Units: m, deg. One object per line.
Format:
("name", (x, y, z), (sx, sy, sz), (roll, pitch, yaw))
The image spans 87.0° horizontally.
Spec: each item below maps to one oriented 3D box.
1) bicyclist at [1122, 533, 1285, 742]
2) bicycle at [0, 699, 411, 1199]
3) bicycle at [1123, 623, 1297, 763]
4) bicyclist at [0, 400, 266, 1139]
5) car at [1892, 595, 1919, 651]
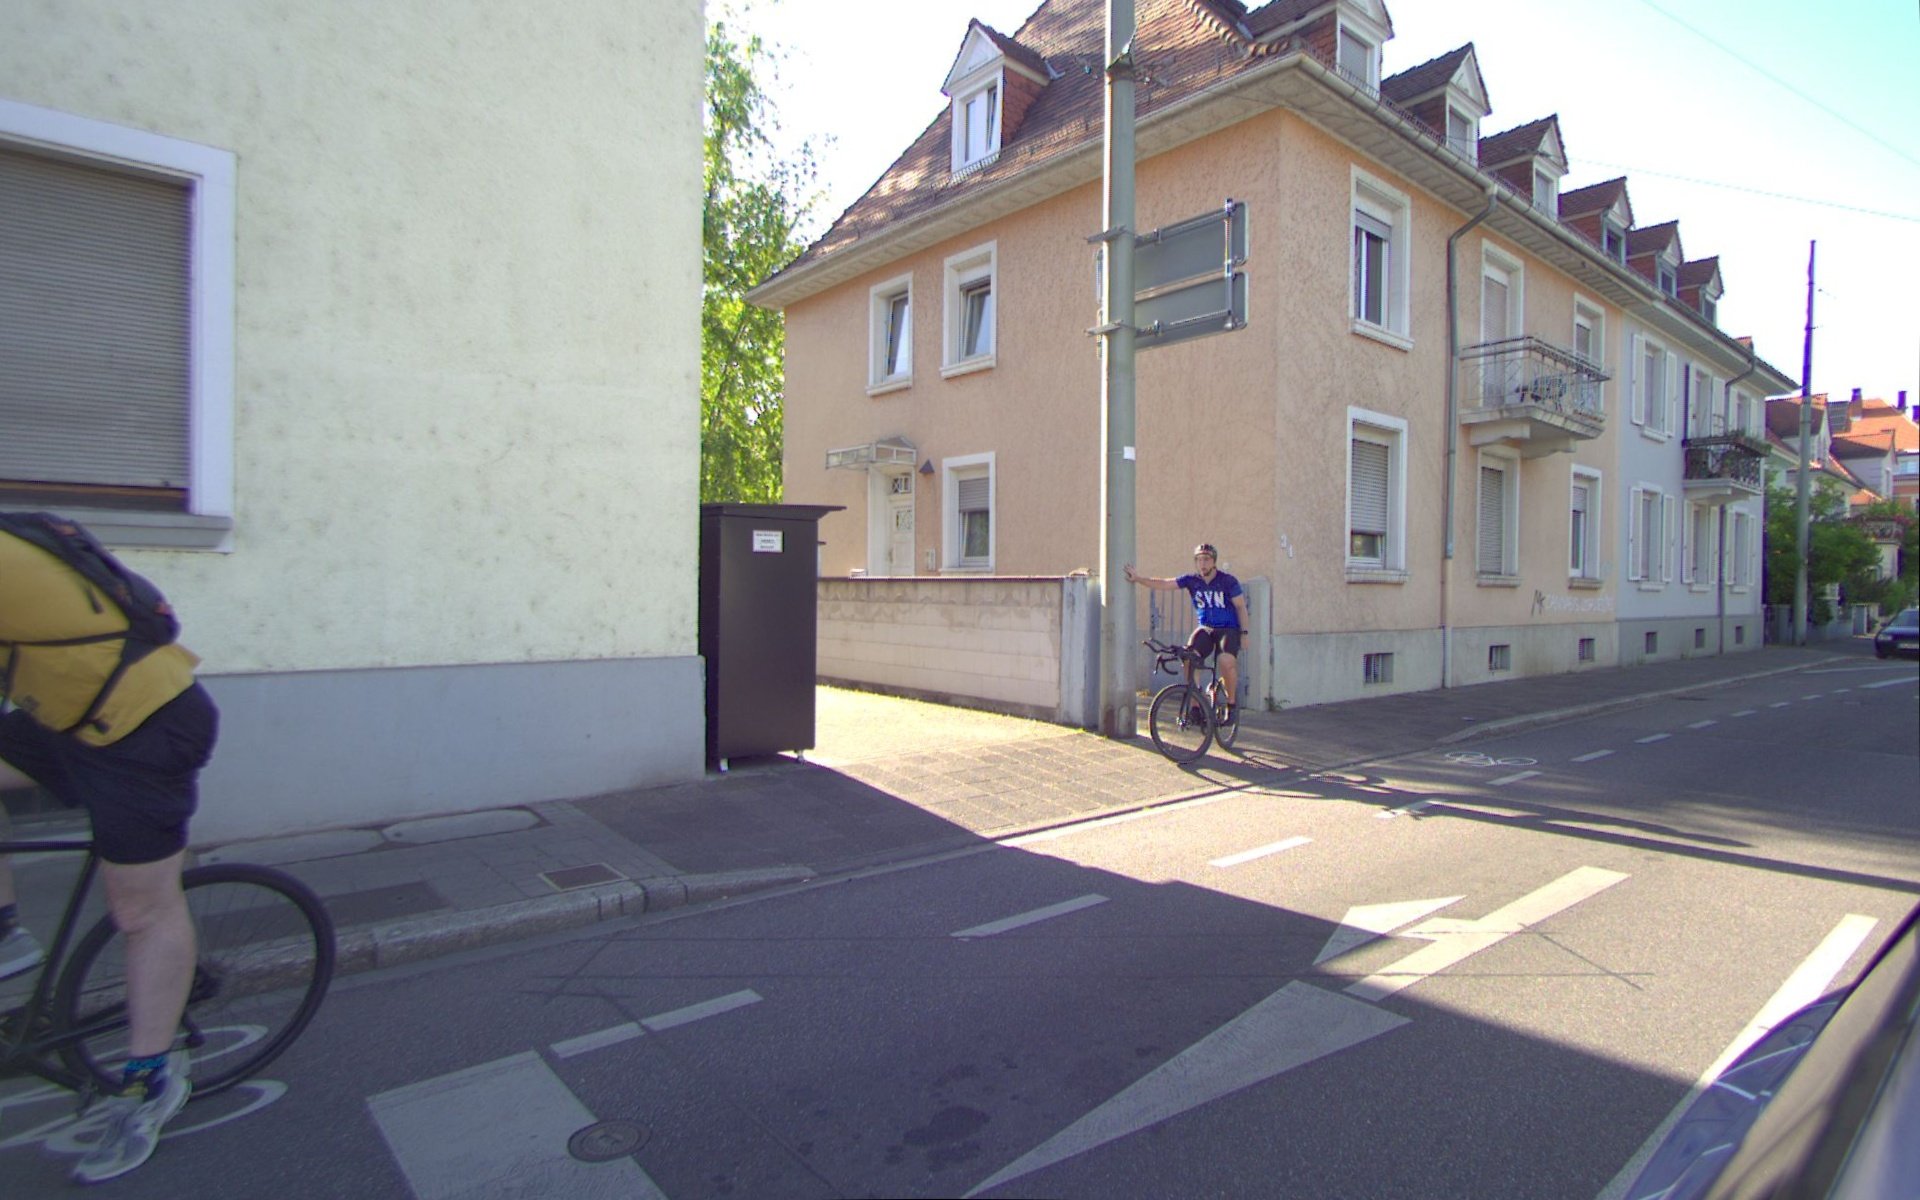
("bicyclist", (2.254, 0.300, 9.442), (0.838, 1.758, 1.072), (0, 6, -40))
("bicycle", (-2.459, 0.894, 2.578), (1.778, 1.101, 0.611), (0, 1, -41))
("bicycle", (2.289, 0.792, 9.169), (1.689, 1.064, 0.595), (0, 6, -41))
("bicyclist", (-2.415, 0.395, 2.638), (0.939, 1.743, 0.582), (0, 1, -41))
("car", (26.649, 0.610, 27.326), (3.932, 1.438, 1.845), (0, 1, -42))
